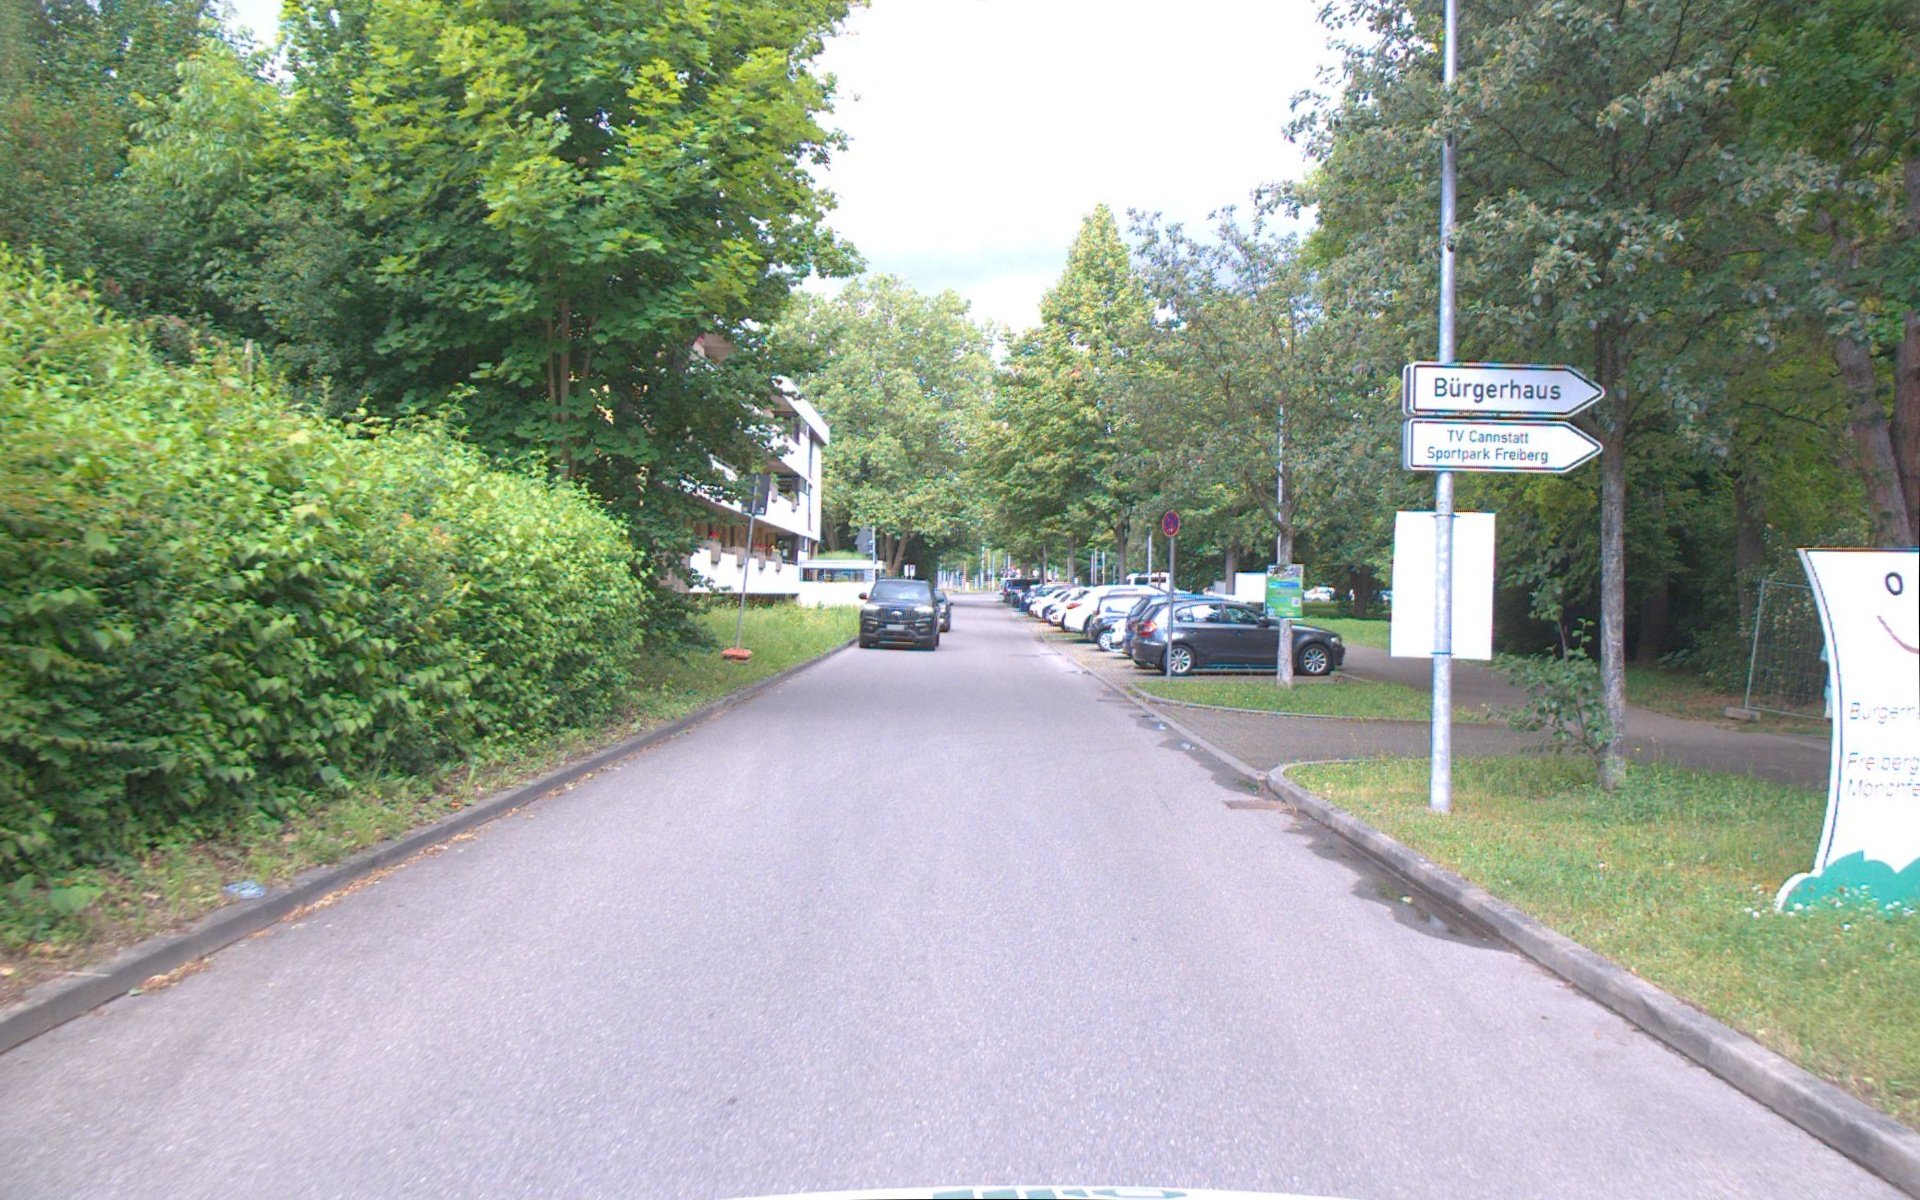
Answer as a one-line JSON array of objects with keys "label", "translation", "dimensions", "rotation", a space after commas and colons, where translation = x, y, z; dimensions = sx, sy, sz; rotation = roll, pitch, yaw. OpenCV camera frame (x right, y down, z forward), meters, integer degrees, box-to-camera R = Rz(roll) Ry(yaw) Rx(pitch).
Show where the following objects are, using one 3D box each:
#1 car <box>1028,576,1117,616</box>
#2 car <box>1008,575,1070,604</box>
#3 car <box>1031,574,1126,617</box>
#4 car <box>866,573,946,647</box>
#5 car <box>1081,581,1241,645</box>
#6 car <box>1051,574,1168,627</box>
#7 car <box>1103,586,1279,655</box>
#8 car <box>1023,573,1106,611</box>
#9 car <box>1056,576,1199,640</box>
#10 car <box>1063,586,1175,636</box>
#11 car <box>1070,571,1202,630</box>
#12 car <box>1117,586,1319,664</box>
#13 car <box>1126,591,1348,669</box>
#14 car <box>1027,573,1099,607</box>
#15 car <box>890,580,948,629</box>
[{"label": "car", "translation": [5.346, -0.186, 79.034], "dimensions": [3.982, 1.717, 1.821], "rotation": [-2, 0, -3]}, {"label": "car", "translation": [5.343, -0.703, 112.563], "dimensions": [3.982, 1.801, 1.821], "rotation": [-2, 0, -3]}, {"label": "car", "translation": [5.229, -0.200, 73.393], "dimensions": [3.982, 1.717, 1.821], "rotation": [-2, 0, -3]}, {"label": "car", "translation": [-1.349, 0.236, 42.952], "dimensions": [1.928, 1.778, 4.338], "rotation": [2, 0, -1]}, {"label": "car", "translation": [5.388, 0.341, 44.540], "dimensions": [3.982, 1.514, 1.821], "rotation": [-2, 1, -3]}, {"label": "car", "translation": [5.404, 0.005, 60.206], "dimensions": [3.982, 1.717, 1.821], "rotation": [-2, 0, -3]}, {"label": "car", "translation": [5.495, 0.473, 39.724], "dimensions": [3.980, 1.595, 1.822], "rotation": [0, 0, -1]}, {"label": "car", "translation": [5.282, -0.405, 84.274], "dimensions": [3.982, 1.717, 1.821], "rotation": [-2, 0, -3]}, {"label": "car", "translation": [4.987, 0.212, 49.665], "dimensions": [3.982, 1.717, 1.821], "rotation": [-2, 0, -3]}, {"label": "car", "translation": [5.998, 0.400, 62.687], "dimensions": [3.982, 1.717, 1.821], "rotation": [-2, 0, -3]}, {"label": "car", "translation": [5.698, 0.020, 53.767], "dimensions": [3.982, 1.717, 1.821], "rotation": [-2, 0, -3]}, {"label": "car", "translation": [5.386, 0.528, 34.905], "dimensions": [3.980, 1.596, 1.822], "rotation": [0, -1, -1]}, {"label": "car", "translation": [5.338, 0.593, 32.214], "dimensions": [3.980, 1.459, 2.000], "rotation": [0, -1, -1]}, {"label": "car", "translation": [6.079, -0.593, 98.011], "dimensions": [3.982, 1.801, 1.821], "rotation": [-2, 0, -3]}, {"label": "car", "translation": [-1.408, 0.125, 58.377], "dimensions": [1.928, 1.603, 4.338], "rotation": [2, 0, -1]}]
